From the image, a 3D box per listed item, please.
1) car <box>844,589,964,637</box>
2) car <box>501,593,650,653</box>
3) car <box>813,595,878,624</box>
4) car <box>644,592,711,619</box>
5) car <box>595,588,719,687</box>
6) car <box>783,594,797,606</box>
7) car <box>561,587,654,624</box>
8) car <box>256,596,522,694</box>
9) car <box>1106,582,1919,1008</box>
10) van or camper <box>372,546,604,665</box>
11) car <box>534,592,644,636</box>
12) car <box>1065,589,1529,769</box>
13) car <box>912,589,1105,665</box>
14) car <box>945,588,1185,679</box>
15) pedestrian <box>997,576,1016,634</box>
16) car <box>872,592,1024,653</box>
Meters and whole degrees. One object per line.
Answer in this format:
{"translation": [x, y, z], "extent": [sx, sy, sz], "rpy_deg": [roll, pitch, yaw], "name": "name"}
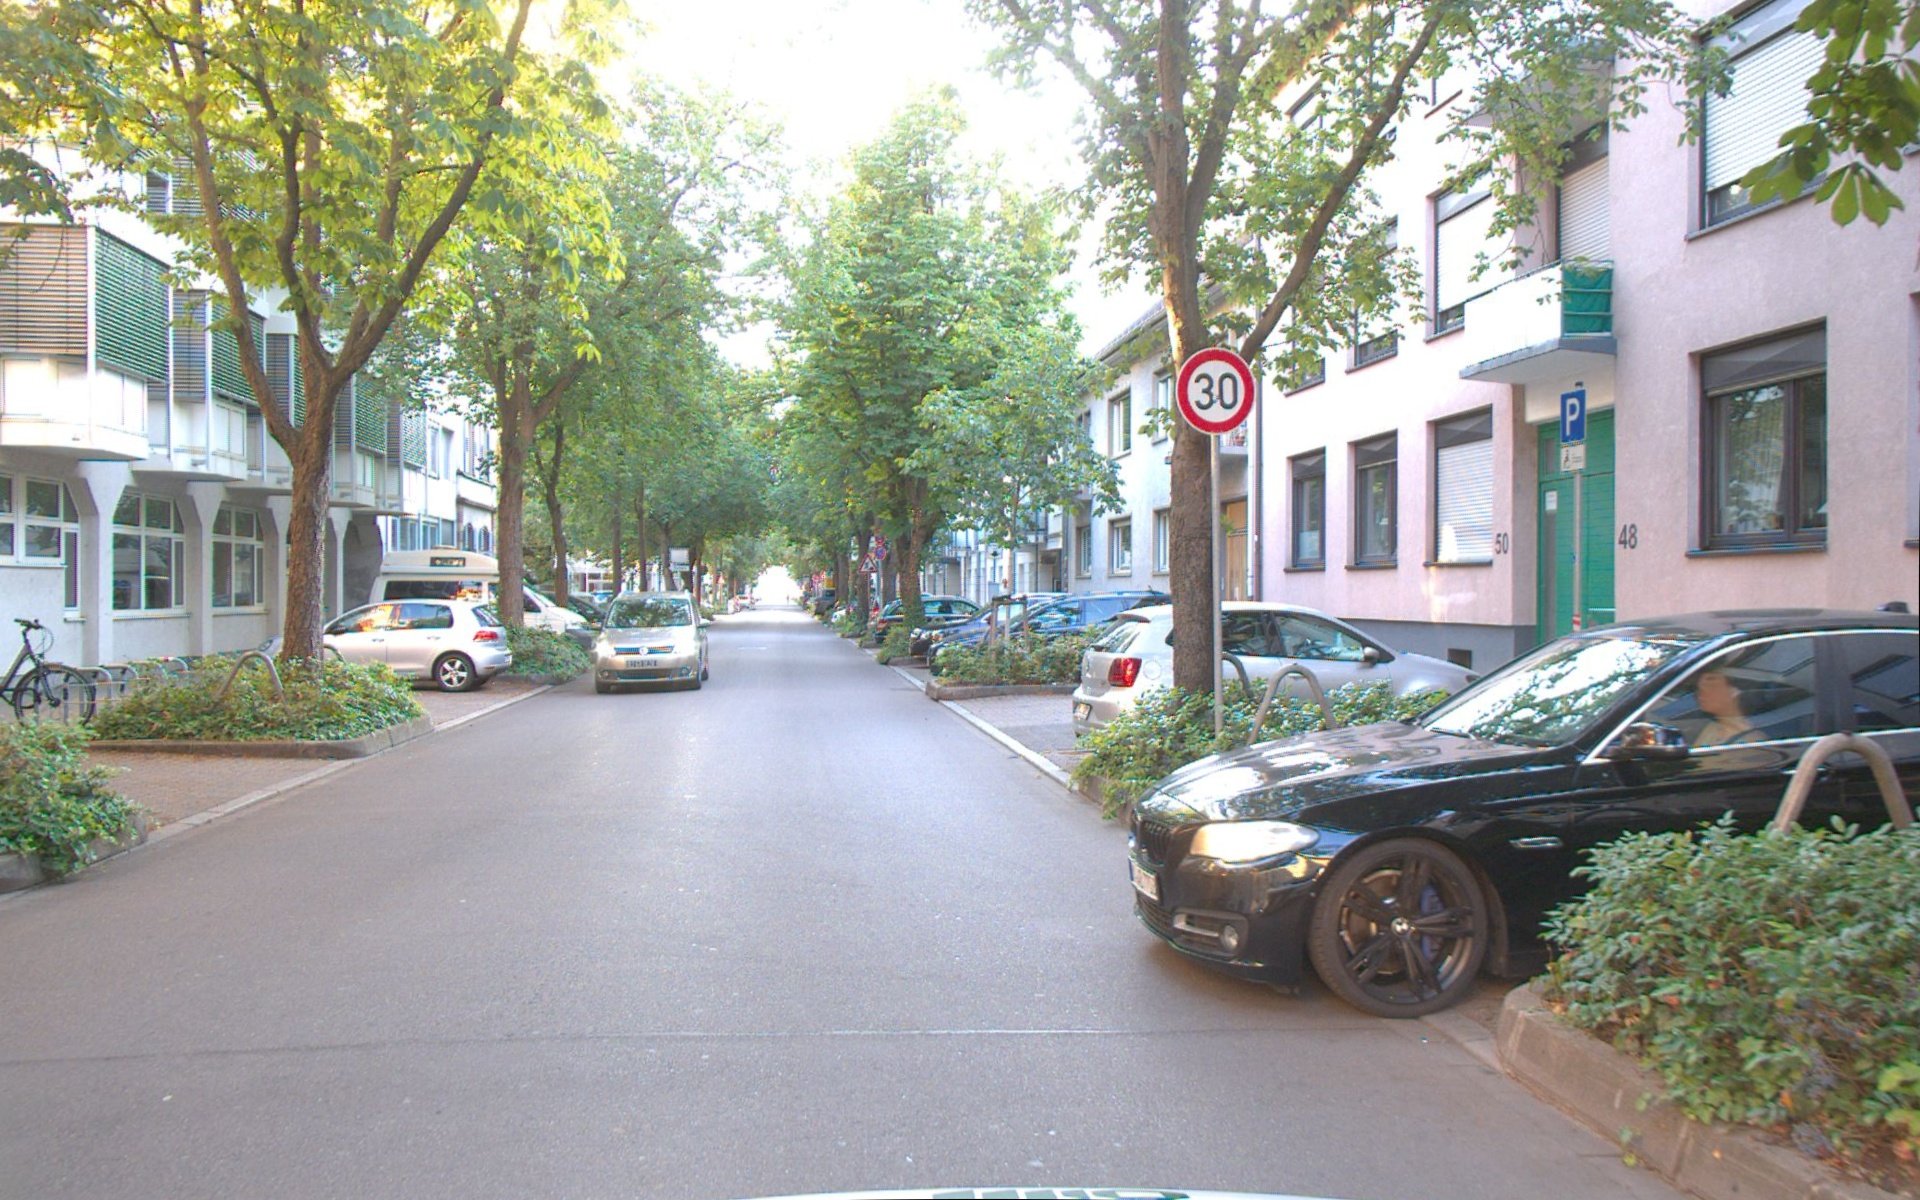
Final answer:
{"translation": [-1.919, 0.419, 55.877], "extent": [3.893, 1.554, 1.782], "rpy_deg": [0, 0, -8], "name": "car"}
{"translation": [-10.890, 0.625, 47.072], "extent": [3.891, 1.647, 1.783], "rpy_deg": [0, 0, -6], "name": "car"}
{"translation": [-6.915, 0.582, 99.816], "extent": [3.891, 1.713, 1.783], "rpy_deg": [0, 0, -5], "name": "car"}
{"translation": [-17.234, 0.334, 101.024], "extent": [3.891, 1.647, 1.783], "rpy_deg": [0, 0, -5], "name": "car"}
{"translation": [-5.174, 0.589, 28.646], "extent": [1.744, 1.589, 4.163], "rpy_deg": [0, 0, -5], "name": "car"}
{"translation": [-23.055, -0.049, 224.376], "extent": [1.787, 1.557, 3.995], "rpy_deg": [1, 0, -6], "name": "car"}
{"translation": [-15.983, 0.248, 75.131], "extent": [3.891, 1.647, 1.783], "rpy_deg": [0, 0, -5], "name": "car"}
{"translation": [-9.498, 0.723, 27.770], "extent": [3.891, 1.544, 1.783], "rpy_deg": [0, 0, -6], "name": "car"}
{"translation": [3.081, 0.684, 7.040], "extent": [4.654, 1.506, 1.798], "rpy_deg": [0, 0, -6], "name": "car"}
{"translation": [-10.207, 0.103, 36.084], "extent": [4.574, 2.521, 1.997], "rpy_deg": [0, 0, -7], "name": "van or camper"}
{"translation": [-14.207, 0.526, 63.531], "extent": [3.891, 1.647, 1.783], "rpy_deg": [0, 0, -5], "name": "car"}
{"translation": [3.010, 0.666, 15.134], "extent": [3.836, 1.502, 1.662], "rpy_deg": [0, 0, -8], "name": "car"}
{"translation": [0.998, 0.553, 35.206], "extent": [3.892, 1.554, 1.782], "rpy_deg": [0, 0, -7], "name": "car"}
{"translation": [1.785, 0.556, 28.727], "extent": [3.894, 1.502, 1.782], "rpy_deg": [0, 0, -8], "name": "car"}
{"translation": [1.640, 0.184, 58.595], "extent": [0.577, 2.049, 0.669], "rpy_deg": [0, 0, -5], "name": "pedestrian"}
{"translation": [-0.345, 0.575, 44.014], "extent": [3.892, 1.554, 1.782], "rpy_deg": [0, 0, -7], "name": "car"}
